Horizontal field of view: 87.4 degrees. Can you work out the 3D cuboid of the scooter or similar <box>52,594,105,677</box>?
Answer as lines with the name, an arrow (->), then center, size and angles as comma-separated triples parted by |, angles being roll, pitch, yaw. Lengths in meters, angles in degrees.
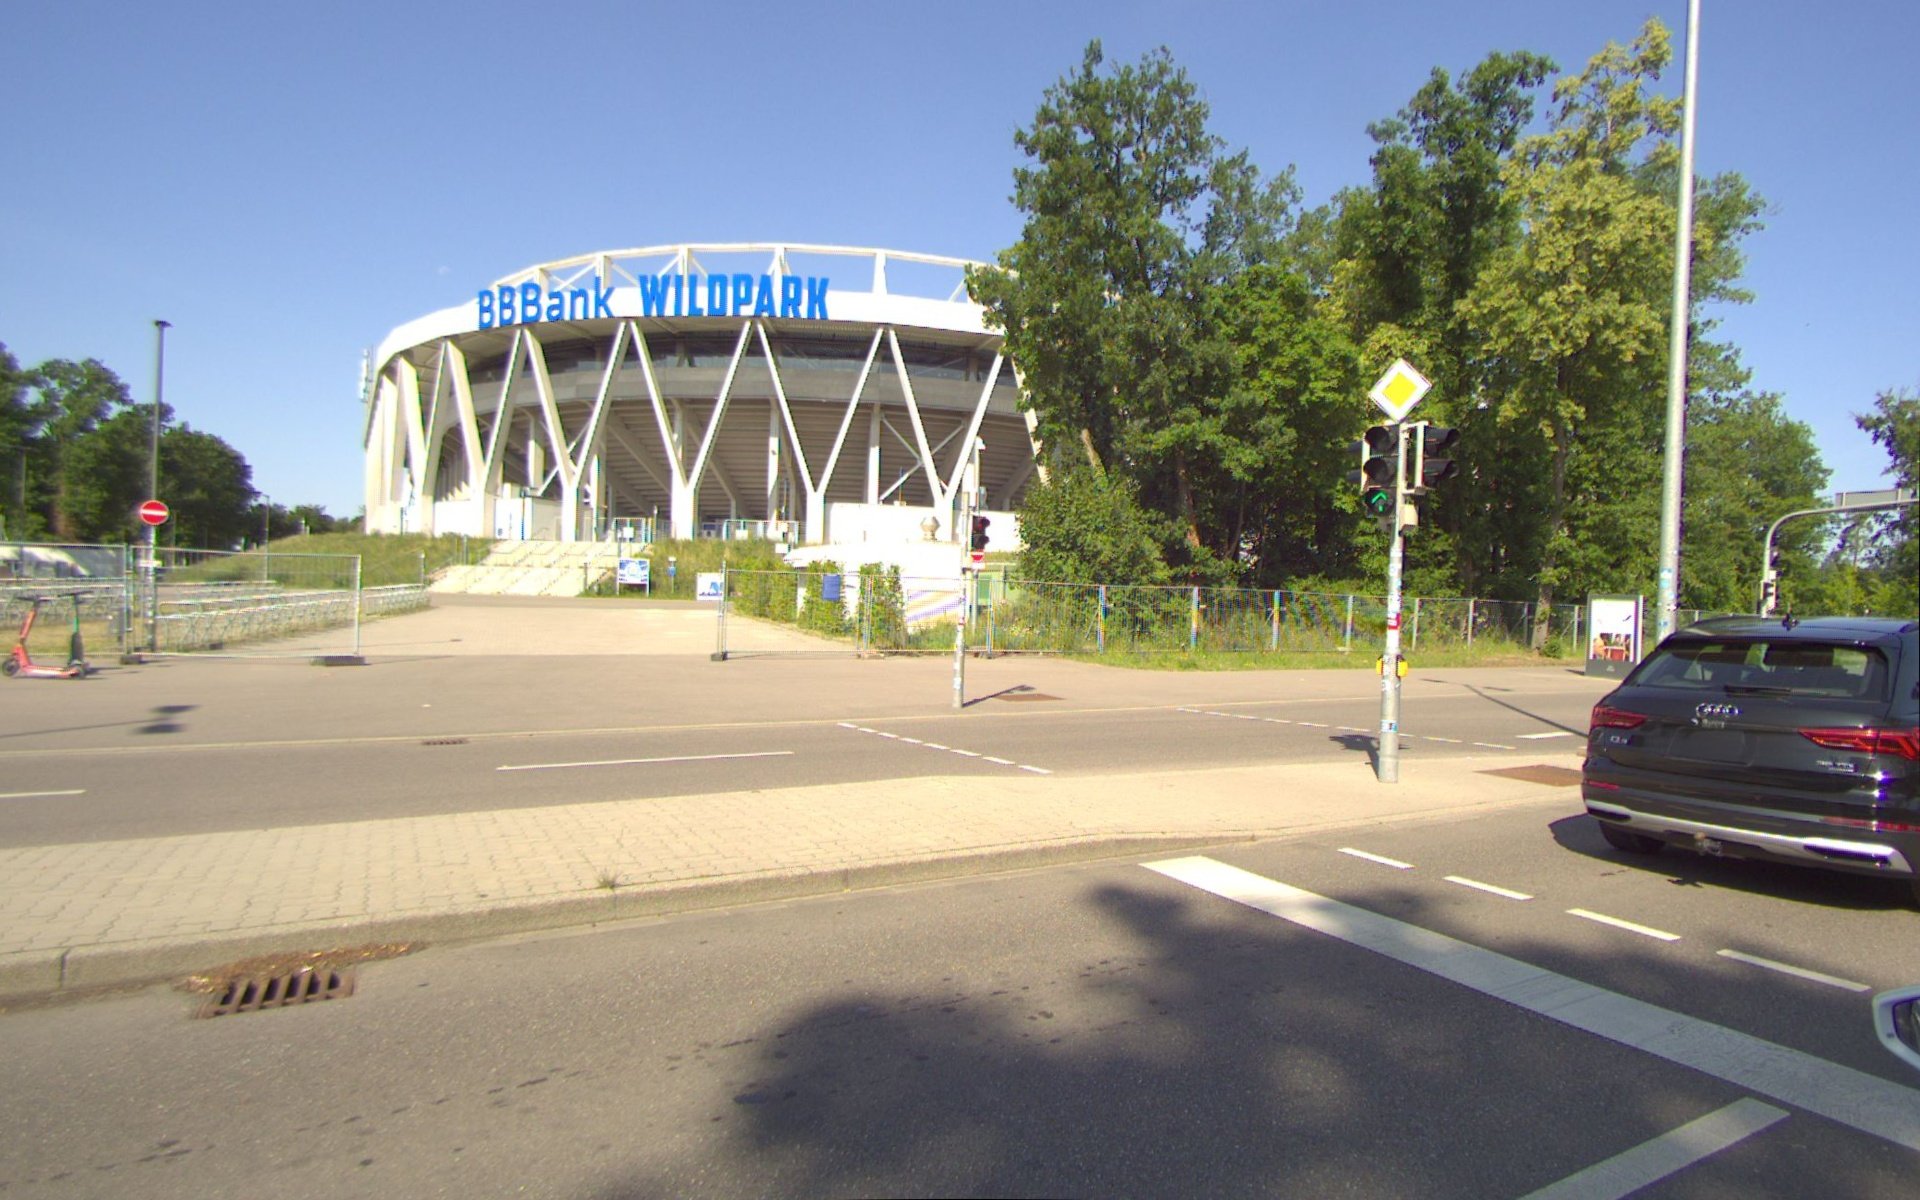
scooter or similar -> -13.814, 0.537, 15.740 | 1.064, 1.238, 0.394 | 2, 0, 37

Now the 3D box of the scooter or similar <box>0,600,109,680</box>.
scooter or similar -> -13.521, 0.598, 14.975 | 1.180, 1.161, 0.393 | 2, 0, -25

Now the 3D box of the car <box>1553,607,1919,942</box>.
car -> 5.842, 0.874, 6.479 | 4.099, 1.565, 1.680 | 2, -1, -30
